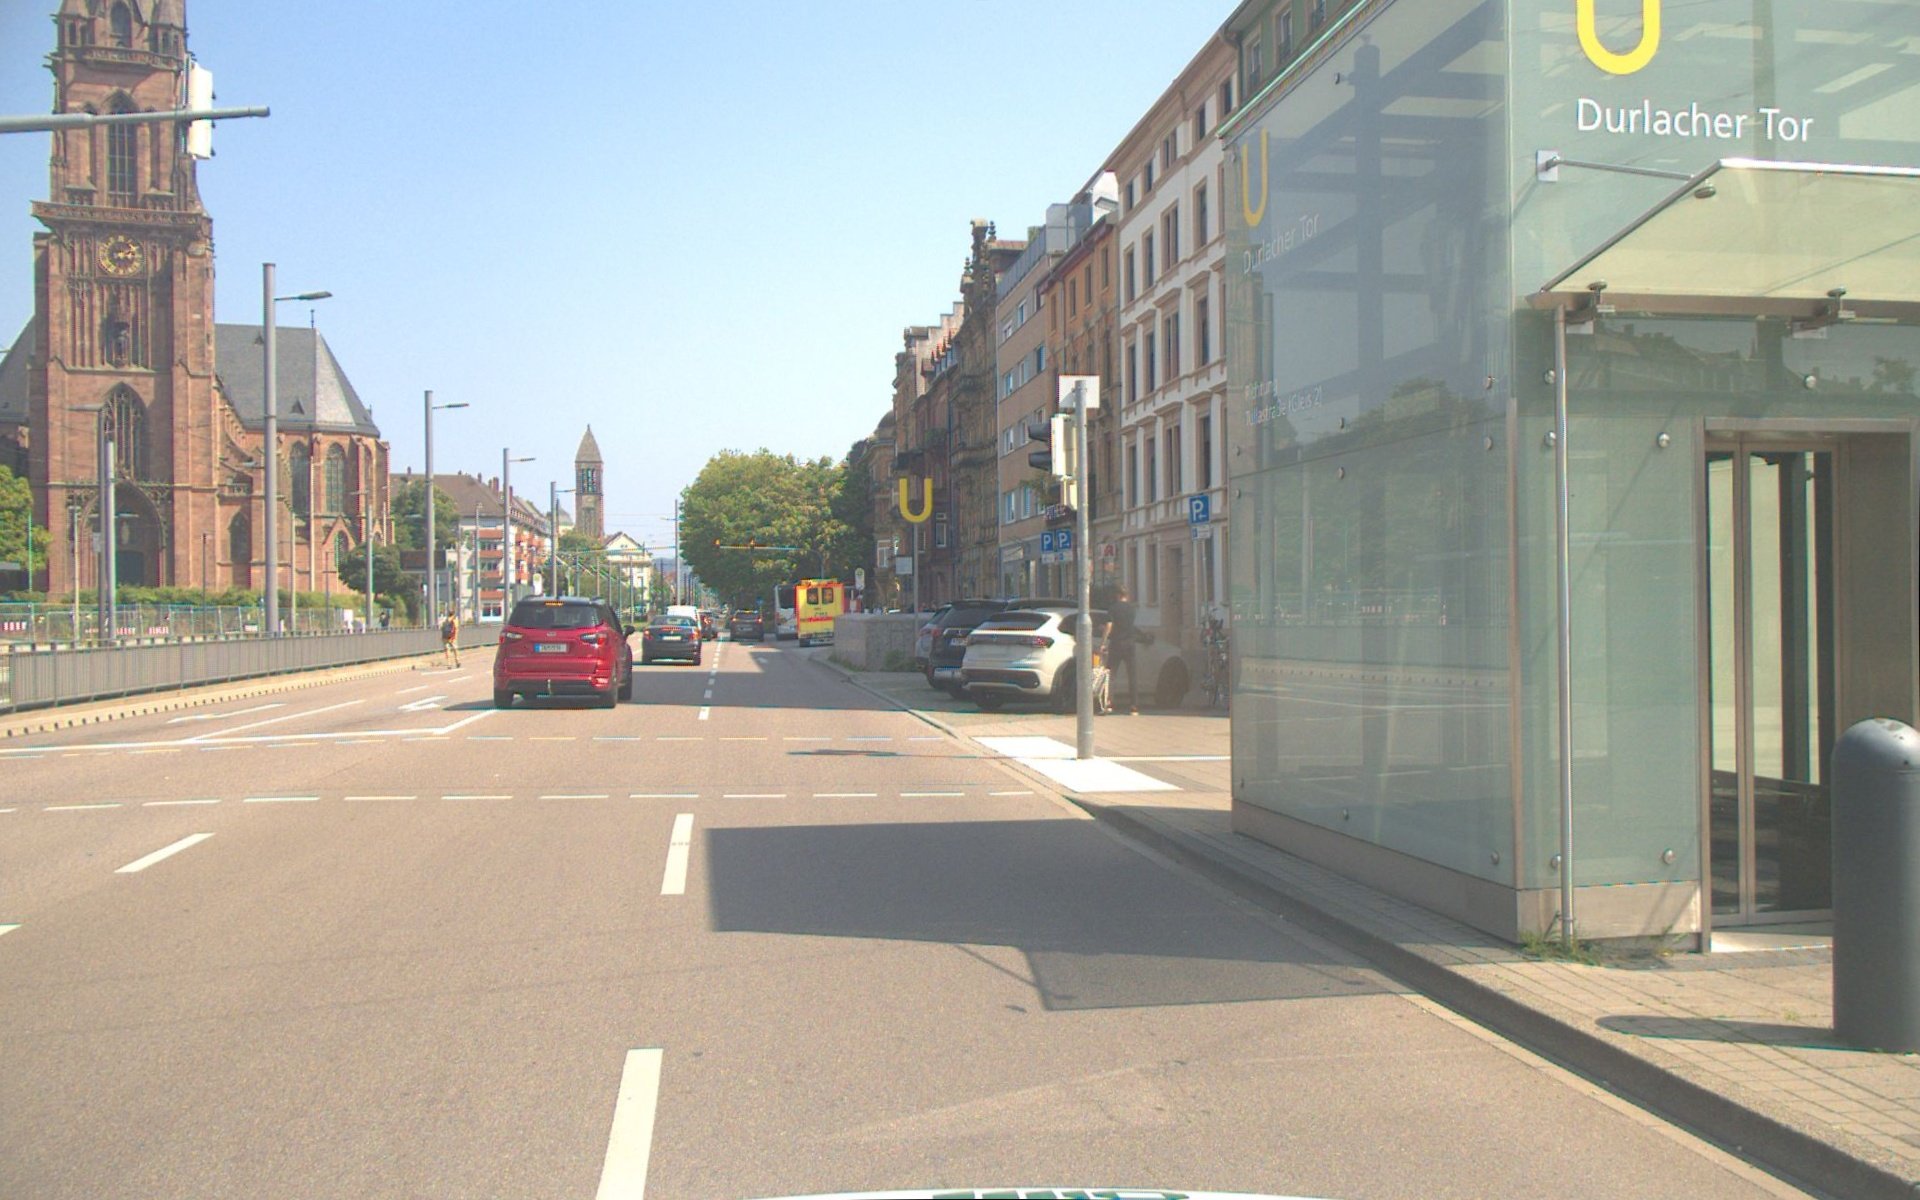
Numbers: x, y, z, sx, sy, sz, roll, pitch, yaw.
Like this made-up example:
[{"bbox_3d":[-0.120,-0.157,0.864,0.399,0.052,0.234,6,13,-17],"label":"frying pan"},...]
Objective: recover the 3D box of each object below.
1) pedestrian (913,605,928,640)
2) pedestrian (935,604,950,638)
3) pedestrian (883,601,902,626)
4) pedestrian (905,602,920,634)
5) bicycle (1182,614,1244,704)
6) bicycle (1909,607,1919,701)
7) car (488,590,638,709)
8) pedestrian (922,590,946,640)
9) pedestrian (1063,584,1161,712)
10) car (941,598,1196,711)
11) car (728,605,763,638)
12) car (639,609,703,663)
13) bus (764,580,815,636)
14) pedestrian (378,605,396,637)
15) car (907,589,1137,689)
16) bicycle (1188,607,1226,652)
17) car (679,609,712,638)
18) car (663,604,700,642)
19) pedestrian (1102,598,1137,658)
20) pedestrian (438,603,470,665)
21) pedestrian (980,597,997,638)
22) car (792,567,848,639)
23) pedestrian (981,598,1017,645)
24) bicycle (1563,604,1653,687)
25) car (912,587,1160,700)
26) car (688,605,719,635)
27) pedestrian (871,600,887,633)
[{"bbox_3d":[-1.958,1.105,81.332,0.683,1.696,0.602,0,-1,-6],"label":"pedestrian"},{"bbox_3d":[-0.903,1.068,83.383,0.631,1.714,0.788,-1,-1,-9],"label":"pedestrian"},{"bbox_3d":[-5.067,0.980,123.863,1.225,1.782,1.523,-1,2,-8],"label":"pedestrian"},{"bbox_3d":[-2.562,0.976,89.267,0.683,1.696,1.063,0,0,-6],"label":"pedestrian"},{"bbox_3d":[3.882,0.892,25.473,0.464,1.319,1.789,-1,-1,-6],"label":"bicycle"},{"bbox_3d":[12.858,0.659,20.393,1.922,1.163,0.597,-1,0,7],"label":"bicycle"},{"bbox_3d":[-6.000,0.703,25.390,1.728,1.646,4.076,-1,0,-6],"label":"car"},{"bbox_3d":[-0.951,0.527,60.566,0.833,1.759,0.971,-2,2,-2],"label":"pedestrian"},{"bbox_3d":[2.117,0.659,23.068,1.026,1.734,0.893,1,-1,-35],"label":"pedestrian"},{"bbox_3d":[1.680,0.784,24.842,3.757,1.526,1.778,2,0,-44],"label":"car"},{"bbox_3d":[-11.617,1.182,89.347,1.757,1.707,3.991,0,-1,-9],"label":"car"},{"bbox_3d":[-8.348,1.006,47.979,1.757,1.456,3.991,-1,0,-9],"label":"car"},{"bbox_3d":[-10.094,0.475,96.895,2.486,3.085,12.412,-1,0,-8],"label":"bus"},{"bbox_3d":[-32.035,1.197,92.541,0.813,1.782,0.719,-1,-1,-8],"label":"pedestrian"},{"bbox_3d":[1.266,0.696,31.752,2.006,1.743,4.642,-1,0,40],"label":"car"},{"bbox_3d":[7.064,0.819,47.435,0.471,1.166,2.468,-1,2,-6],"label":"bicycle"},{"bbox_3d":[-14.295,1.277,89.337,1.757,1.498,3.991,0,-1,-9],"label":"car"},{"bbox_3d":[-13.673,1.127,81.310,1.757,1.811,3.991,0,-1,-9],"label":"car"},{"bbox_3d":[5.120,0.894,53.094,0.828,1.878,0.683,-2,0,-18],"label":"pedestrian"},{"bbox_3d":[-14.833,0.997,48.469,0.747,1.782,1.066,-1,-1,-10],"label":"pedestrian"},{"bbox_3d":[1.239,0.756,72.102,0.566,1.780,0.677,-3,0,-8],"label":"pedestrian"},{"bbox_3d":[-6.067,0.127,72.158,2.254,2.939,5.594,-2,0,-4],"label":"car"},{"bbox_3d":[1.351,0.757,57.409,0.845,1.609,0.956,0,-1,-42],"label":"pedestrian"},{"bbox_3d":[10.185,0.693,26.043,0.401,1.260,1.822,-1,0,-10],"label":"bicycle"},{"bbox_3d":[1.357,0.670,27.909,1.950,1.717,4.370,-1,0,40],"label":"car"},{"bbox_3d":[-15.240,1.199,98.186,1.757,1.728,3.991,0,-1,-9],"label":"car"},{"bbox_3d":[-4.222,0.865,86.112,0.682,1.696,0.603,-1,-1,17],"label":"pedestrian"}]
